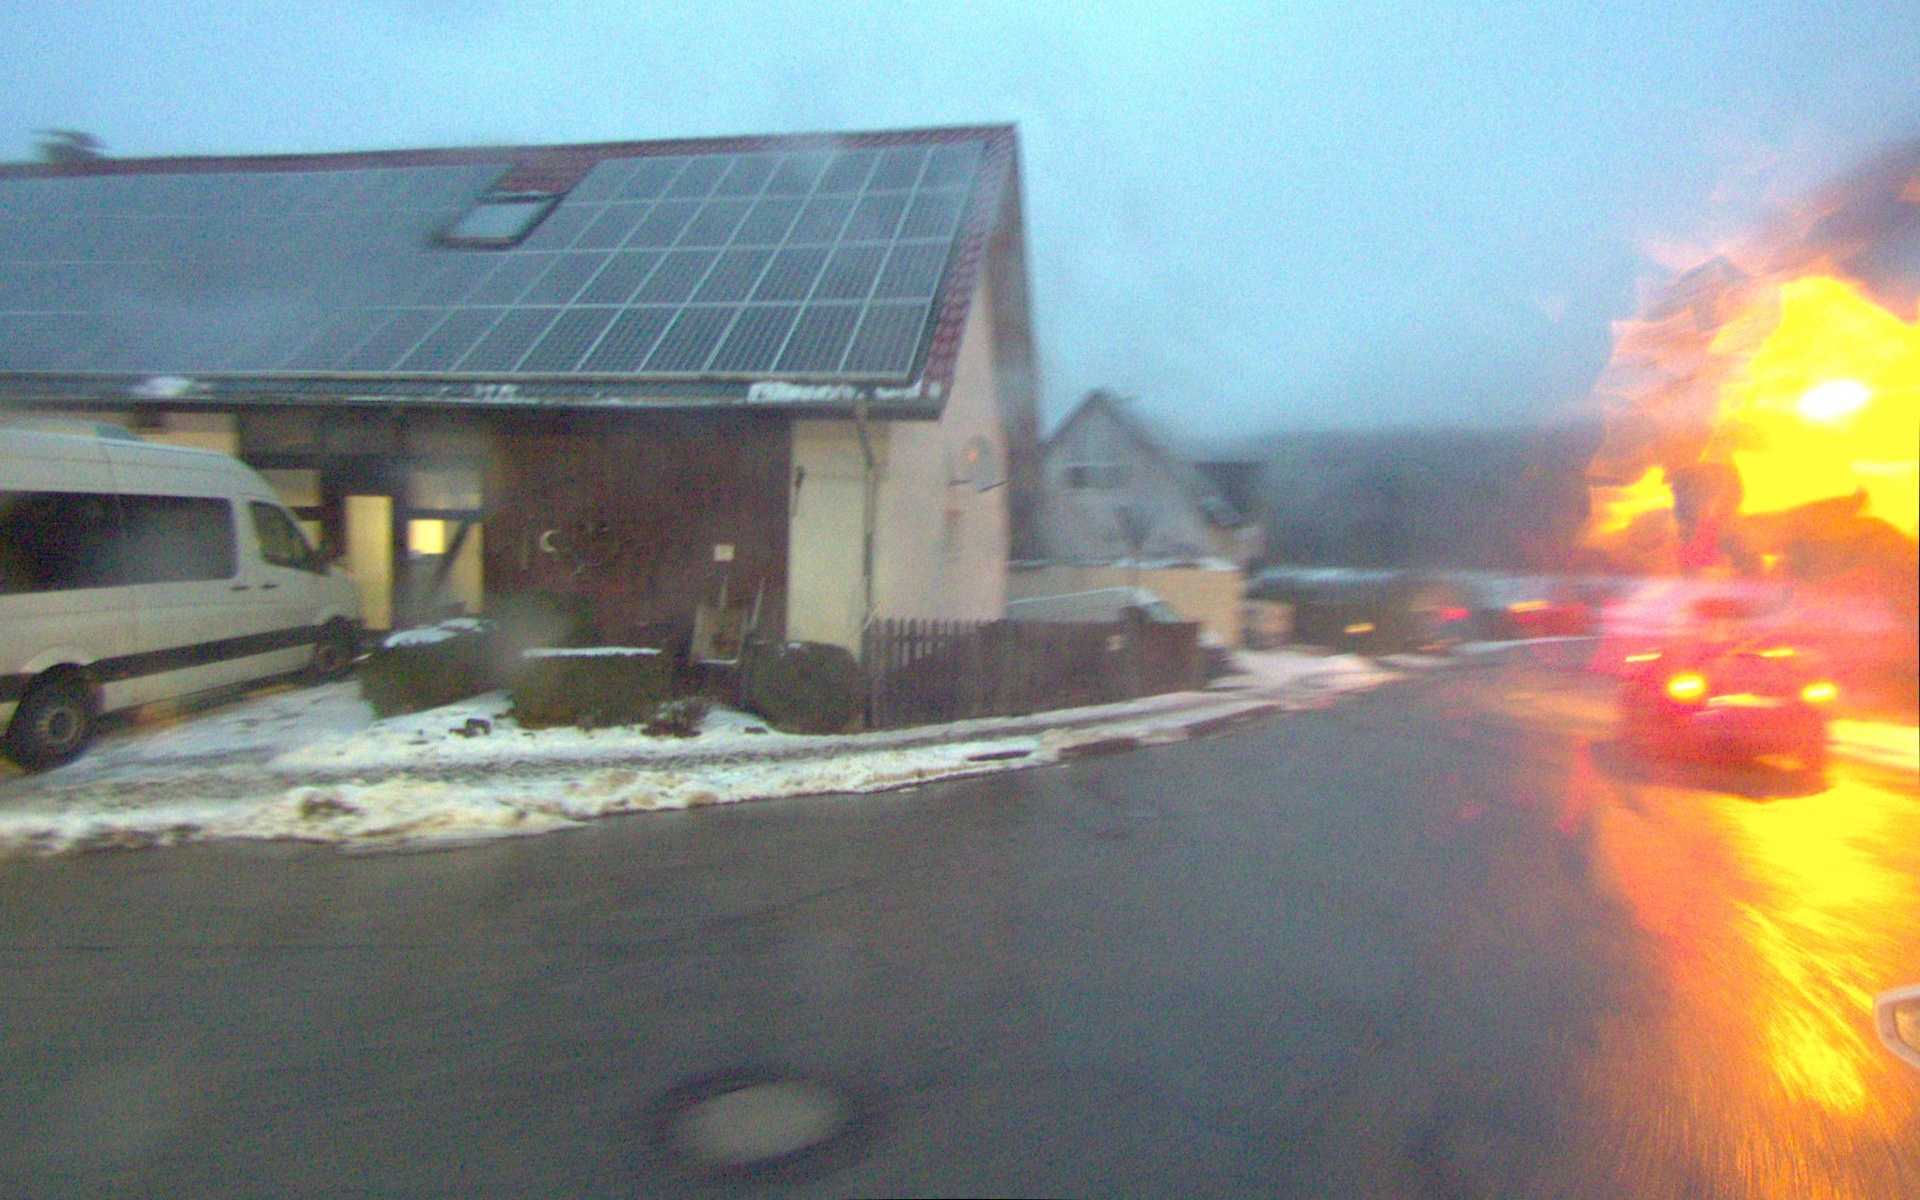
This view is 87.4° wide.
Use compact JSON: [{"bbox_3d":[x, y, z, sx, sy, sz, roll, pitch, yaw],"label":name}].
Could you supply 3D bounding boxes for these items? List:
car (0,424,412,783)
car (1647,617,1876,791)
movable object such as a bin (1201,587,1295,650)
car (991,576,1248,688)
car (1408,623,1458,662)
[{"bbox_3d":[-7.899,-0.220,9.616,1.961,2.588,6.113,2,5,0],"label":"car"},{"bbox_3d":[10.039,1.162,12.864,1.796,1.821,3.570,1,0,31],"label":"car"},{"bbox_3d":[9.127,0.582,31.901,1.429,1.670,2.344,3,4,-39],"label":"movable object such as a bin"},{"bbox_3d":[3.562,0.684,22.549,5.180,2.040,2.213,4,-2,26],"label":"car"},{"bbox_3d":[21.649,1.912,45.917,1.693,1.555,3.509,4,2,30],"label":"car"}]
